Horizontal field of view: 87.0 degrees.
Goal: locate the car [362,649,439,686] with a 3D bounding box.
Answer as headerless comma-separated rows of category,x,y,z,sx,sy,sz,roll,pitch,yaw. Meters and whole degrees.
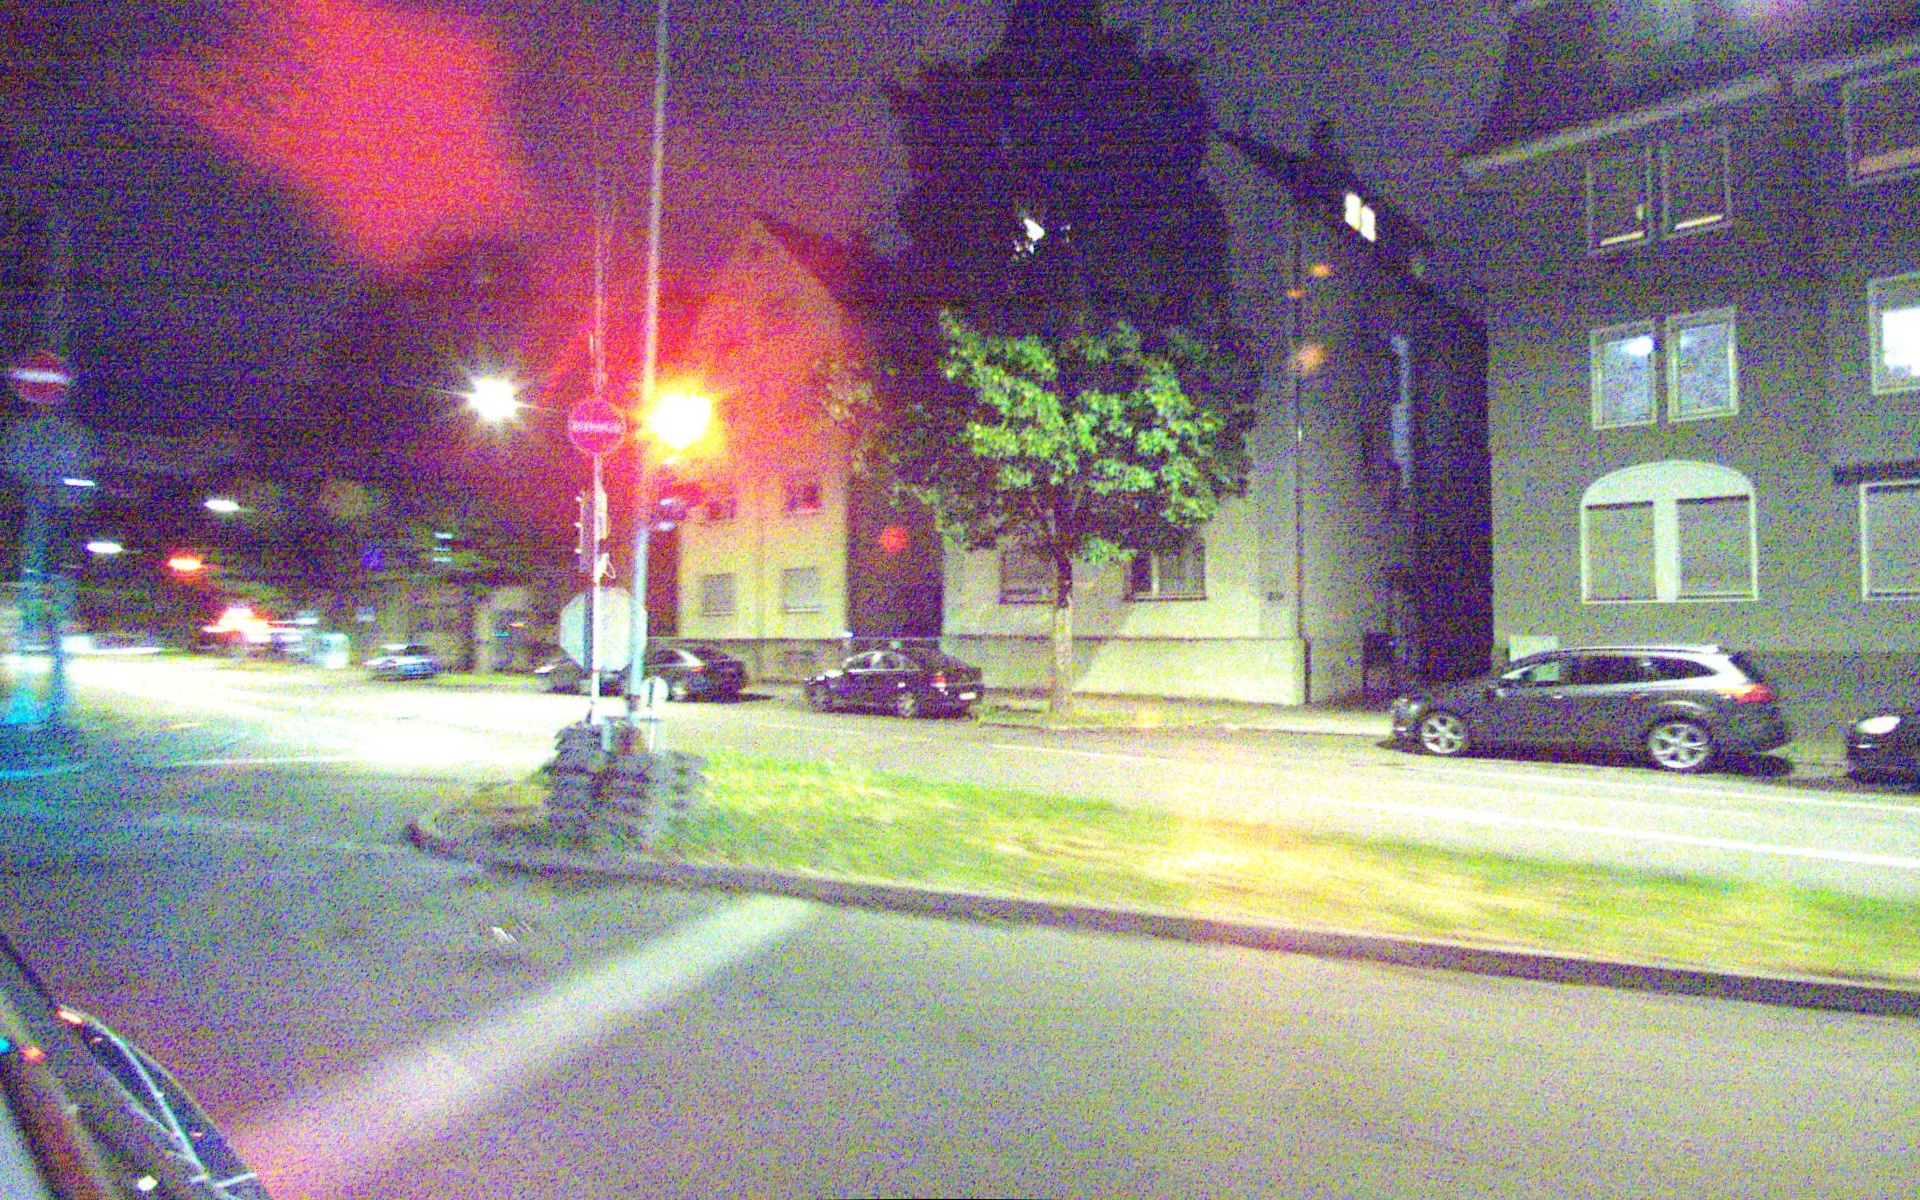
car,-23.393,2.775,42.276,3.510,1.475,1.613,-2,-3,39

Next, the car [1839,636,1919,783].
car,11.643,1.097,9.960,4.443,1.444,1.840,-3,-1,43

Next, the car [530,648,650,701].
car,-11.381,2.219,30.947,4.349,1.444,1.620,-3,-1,43

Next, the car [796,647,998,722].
car,-1.459,1.778,22.280,4.400,1.444,1.842,-2,-2,40

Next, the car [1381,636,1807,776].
car,8.154,1.253,13.304,4.472,1.490,1.840,-3,-2,43

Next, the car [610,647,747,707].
car,-7.773,2.054,27.735,4.347,1.444,1.534,-3,-1,43
